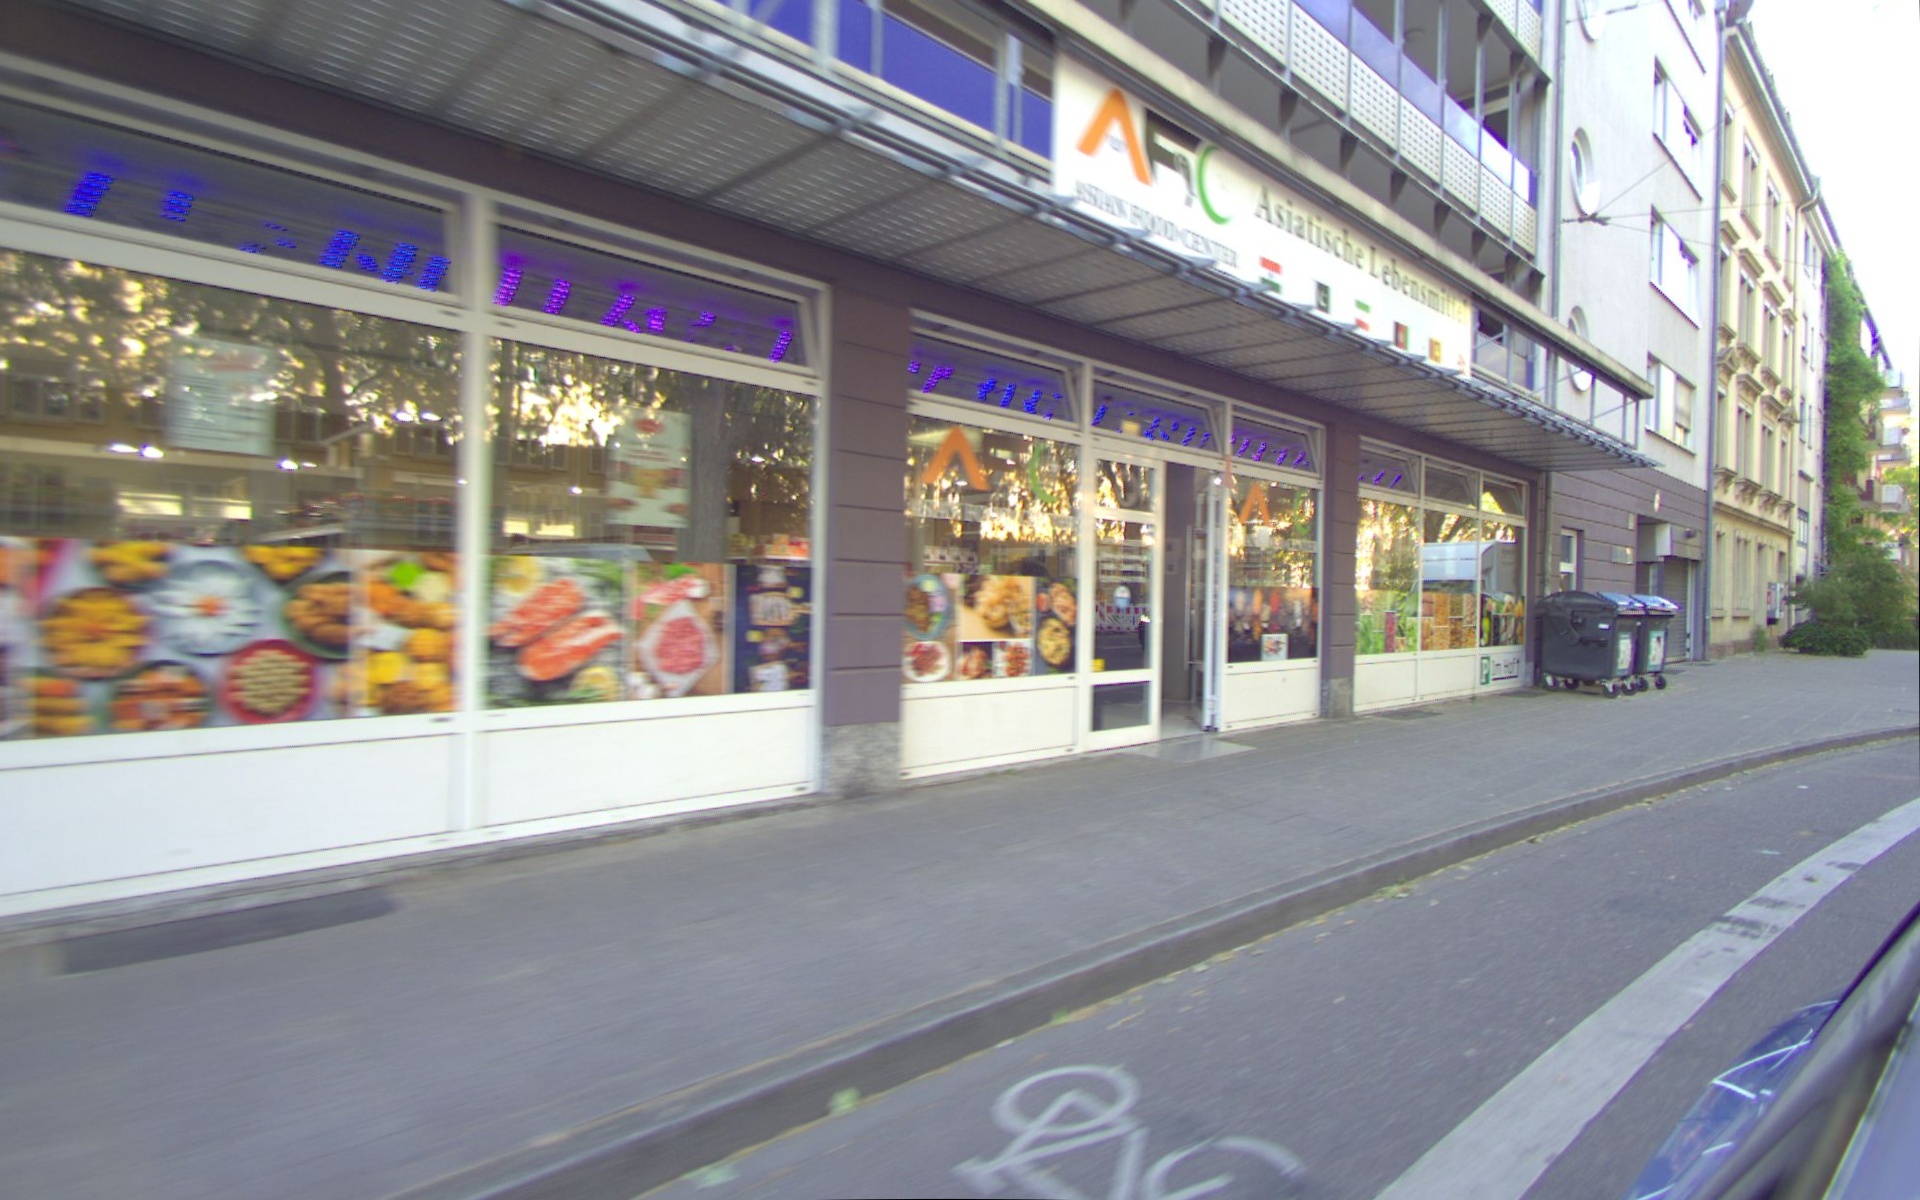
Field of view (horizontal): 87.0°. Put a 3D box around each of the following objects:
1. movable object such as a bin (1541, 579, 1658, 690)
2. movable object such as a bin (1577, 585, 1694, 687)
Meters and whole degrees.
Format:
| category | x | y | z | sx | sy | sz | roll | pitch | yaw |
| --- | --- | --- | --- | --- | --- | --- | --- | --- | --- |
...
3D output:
| category | x | y | z | sx | sy | sz | roll | pitch | yaw |
| --- | --- | --- | --- | --- | --- | --- | --- | --- | --- |
| movable object such as a bin | 8.972 | 0.448 | 14.200 | 1.274 | 1.465 | 1.068 | 0 | 1 | -42 |
| movable object such as a bin | 10.325 | 0.516 | 15.482 | 1.282 | 1.464 | 1.123 | 0 | 1 | -37 |
